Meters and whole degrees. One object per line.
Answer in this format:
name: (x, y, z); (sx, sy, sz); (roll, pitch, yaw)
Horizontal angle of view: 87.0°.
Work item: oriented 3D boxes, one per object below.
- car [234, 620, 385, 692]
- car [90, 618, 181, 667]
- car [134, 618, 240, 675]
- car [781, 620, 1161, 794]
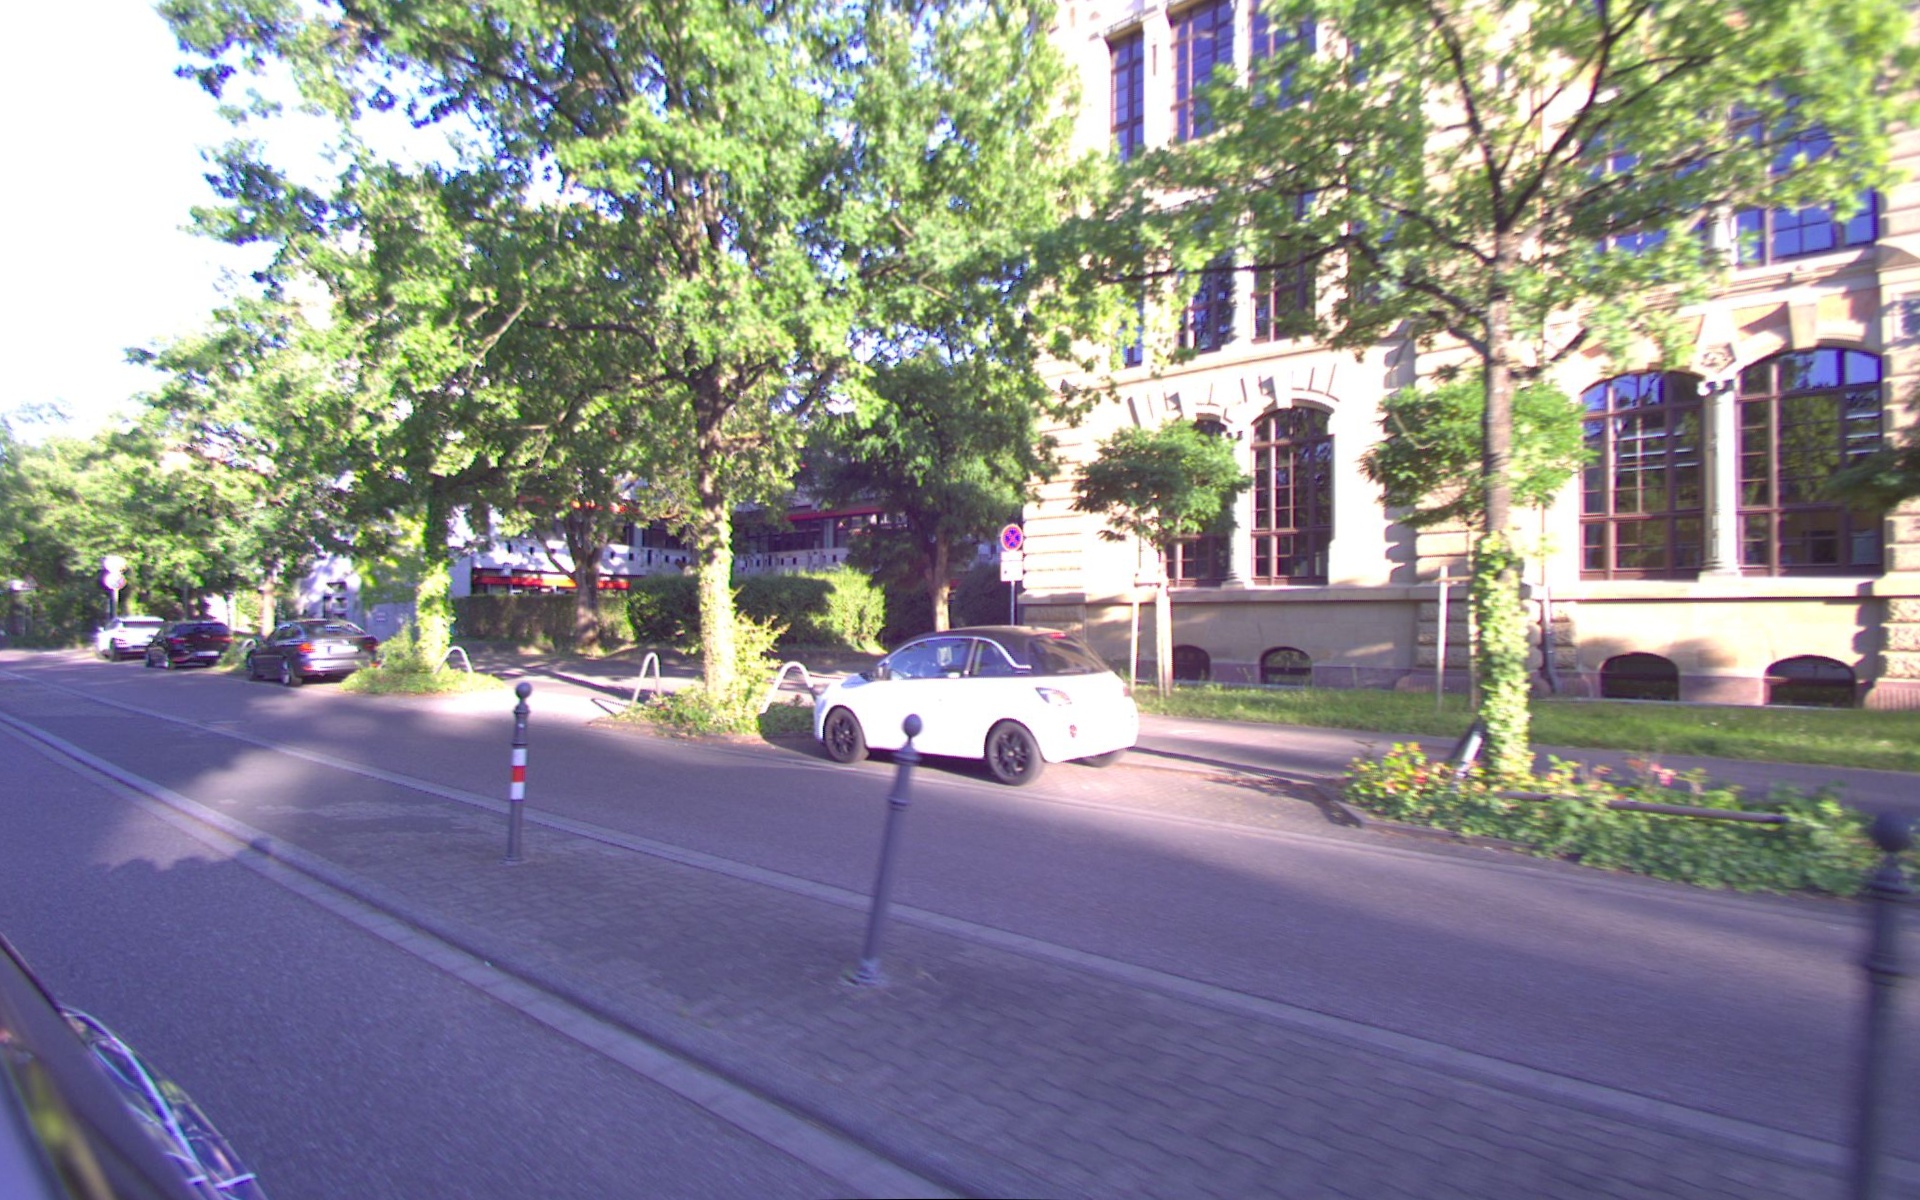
car: (-15.554, 1.242, 24.088); (4.861, 1.522, 1.783); (-1, -1, 42)
car: (-29.686, 1.487, 36.394); (4.144, 1.628, 1.785); (-1, -2, 40)
car: (-23.779, 1.368, 31.081); (4.144, 1.628, 1.762); (-1, -1, 40)
car: (-0.013, 0.967, 10.708); (3.921, 1.507, 1.601); (-1, -1, 40)
